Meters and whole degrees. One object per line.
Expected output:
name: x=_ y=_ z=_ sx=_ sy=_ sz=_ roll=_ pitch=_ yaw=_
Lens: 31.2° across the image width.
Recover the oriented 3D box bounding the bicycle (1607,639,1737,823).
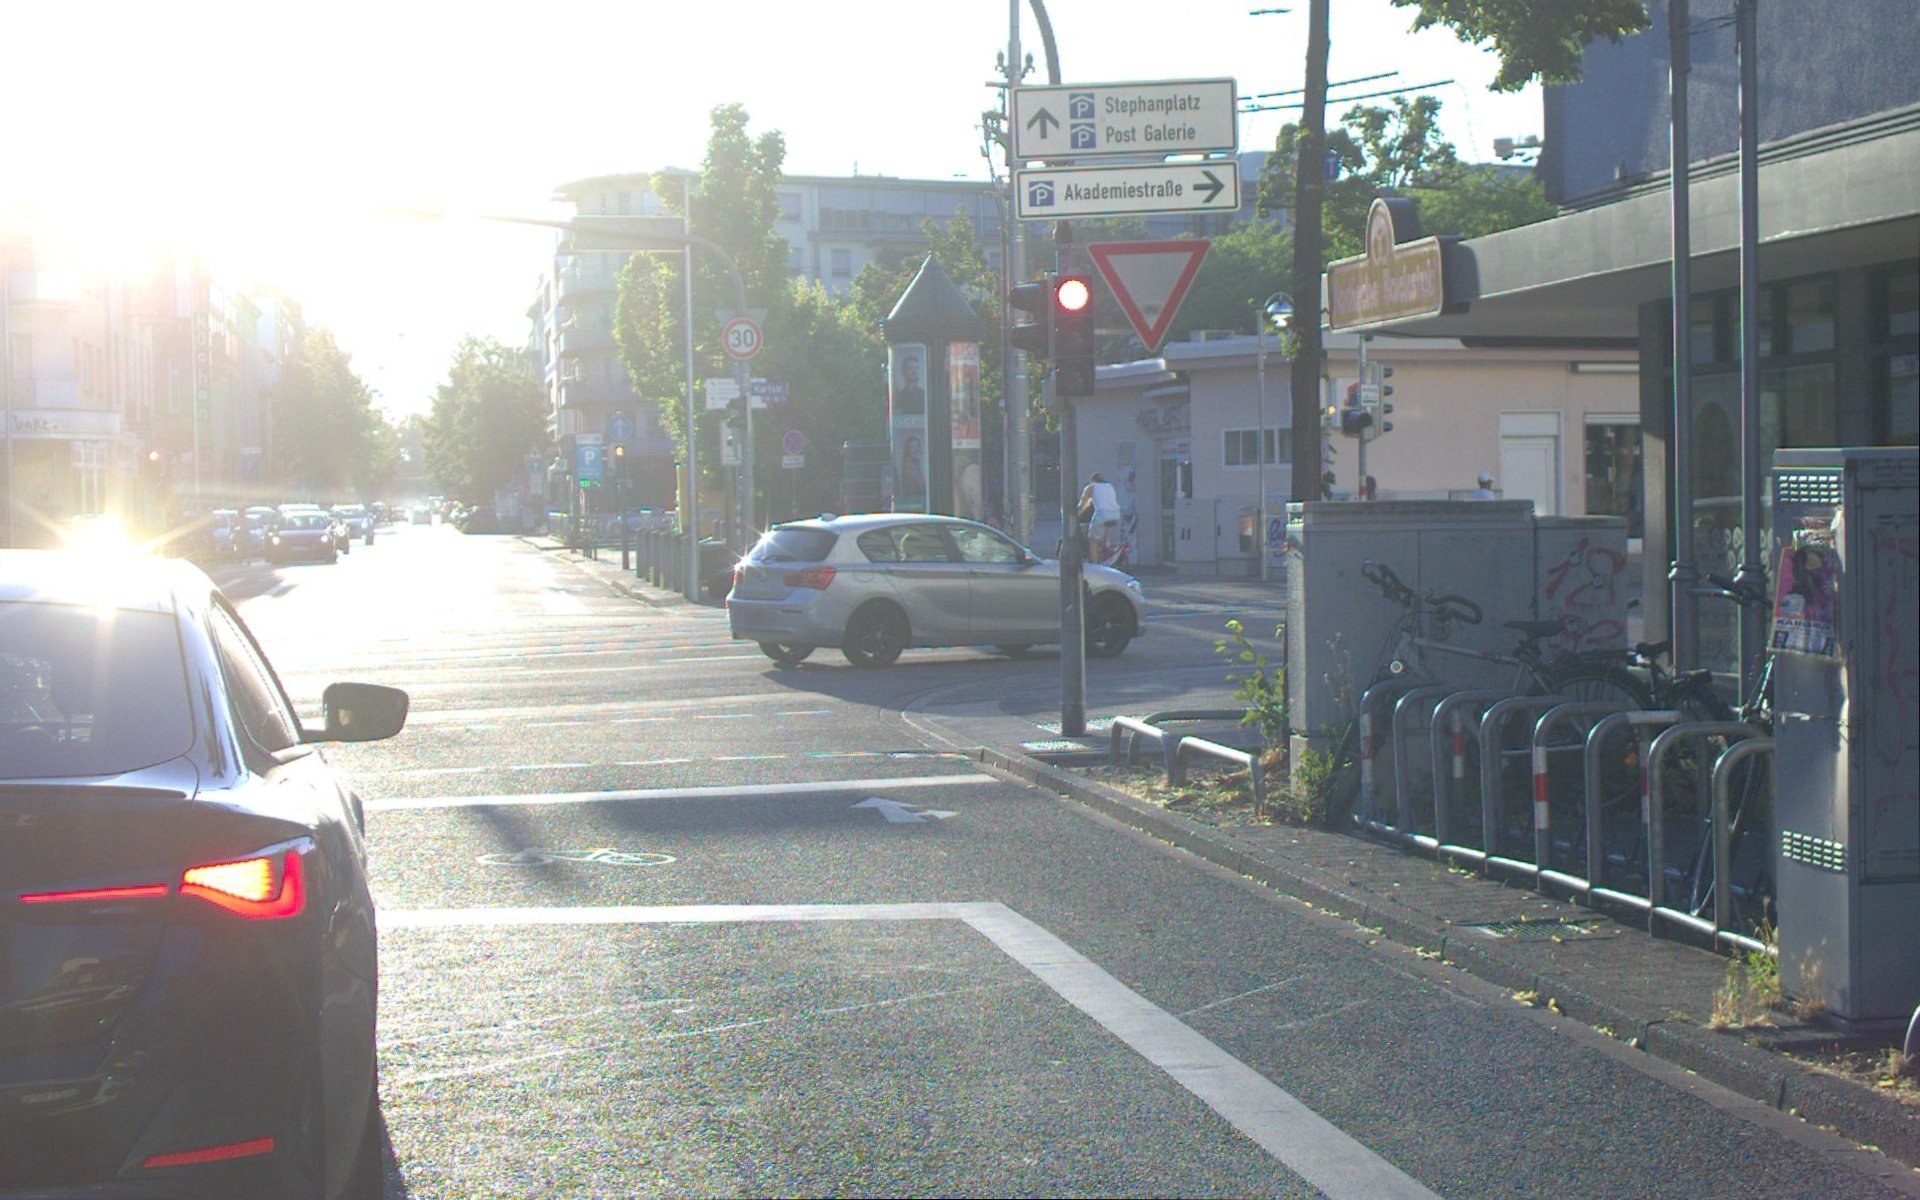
bicycle: x=3.334 y=0.601 z=16.155 sx=0.249 sy=0.793 sz=1.116 roll=1 pitch=1 yaw=-7

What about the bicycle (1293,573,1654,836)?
bicycle: x=2.379 y=0.477 z=15.947 sx=1.612 sy=1.167 sz=0.318 roll=-1 pitch=2 yaw=-6

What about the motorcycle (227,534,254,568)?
motorcycle: x=-19.788 y=-1.346 z=94.596 sx=0.575 sy=0.912 sz=2.201 roll=1 pitch=1 yaw=-8

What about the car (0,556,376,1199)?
car: x=-2.120 y=0.638 z=7.254 sx=1.736 sy=1.424 sz=4.225 roll=0 pitch=1 yaw=-10

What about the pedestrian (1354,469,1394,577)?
pedestrian: x=6.684 y=-1.246 z=55.518 sx=0.442 sy=1.729 sz=0.434 roll=0 pitch=1 yaw=-33

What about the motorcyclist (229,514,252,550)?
motorcyclist: x=-19.766 y=-1.873 z=94.475 sx=0.575 sy=0.992 sz=0.703 roll=1 pitch=1 yaw=-8

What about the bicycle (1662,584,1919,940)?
bicycle: x=3.231 y=0.563 z=12.064 sx=1.440 sy=1.216 sz=0.383 roll=1 pitch=1 yaw=-7

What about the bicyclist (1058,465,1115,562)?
bicyclist: x=1.962 y=-1.336 z=53.280 sx=0.550 sy=1.476 sz=0.722 roll=0 pitch=1 yaw=-38

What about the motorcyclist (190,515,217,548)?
motorcyclist: x=-20.877 y=-1.897 z=94.906 sx=0.575 sy=0.912 sz=2.201 roll=1 pitch=1 yaw=-8

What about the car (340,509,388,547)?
car: x=-24.944 y=-3.043 z=143.991 sx=1.817 sy=1.514 sz=4.001 roll=-1 pitch=2 yaw=-8

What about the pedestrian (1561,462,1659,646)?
pedestrian: x=6.585 y=-0.465 z=34.805 sx=0.836 sy=1.835 sz=0.678 roll=-1 pitch=2 yaw=22

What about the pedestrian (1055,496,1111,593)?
pedestrian: x=1.935 y=-0.871 z=54.230 sx=0.732 sy=1.523 sz=0.473 roll=0 pitch=1 yaw=-22

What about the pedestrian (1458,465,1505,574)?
pedestrian: x=8.332 y=-1.278 z=54.928 sx=0.478 sy=1.729 sz=0.531 roll=0 pitch=1 yaw=-33

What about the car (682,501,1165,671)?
car: x=-0.332 y=-0.178 z=33.565 sx=4.307 sy=1.493 sz=2.000 roll=-2 pitch=2 yaw=-34

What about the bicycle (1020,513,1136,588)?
bicycle: x=1.822 y=-0.773 z=53.468 sx=0.550 sy=1.155 sz=2.144 roll=0 pitch=1 yaw=-38

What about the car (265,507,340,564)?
car: x=-18.197 y=-1.800 z=95.260 sx=1.817 sy=1.514 sz=4.001 roll=-1 pitch=2 yaw=-8
